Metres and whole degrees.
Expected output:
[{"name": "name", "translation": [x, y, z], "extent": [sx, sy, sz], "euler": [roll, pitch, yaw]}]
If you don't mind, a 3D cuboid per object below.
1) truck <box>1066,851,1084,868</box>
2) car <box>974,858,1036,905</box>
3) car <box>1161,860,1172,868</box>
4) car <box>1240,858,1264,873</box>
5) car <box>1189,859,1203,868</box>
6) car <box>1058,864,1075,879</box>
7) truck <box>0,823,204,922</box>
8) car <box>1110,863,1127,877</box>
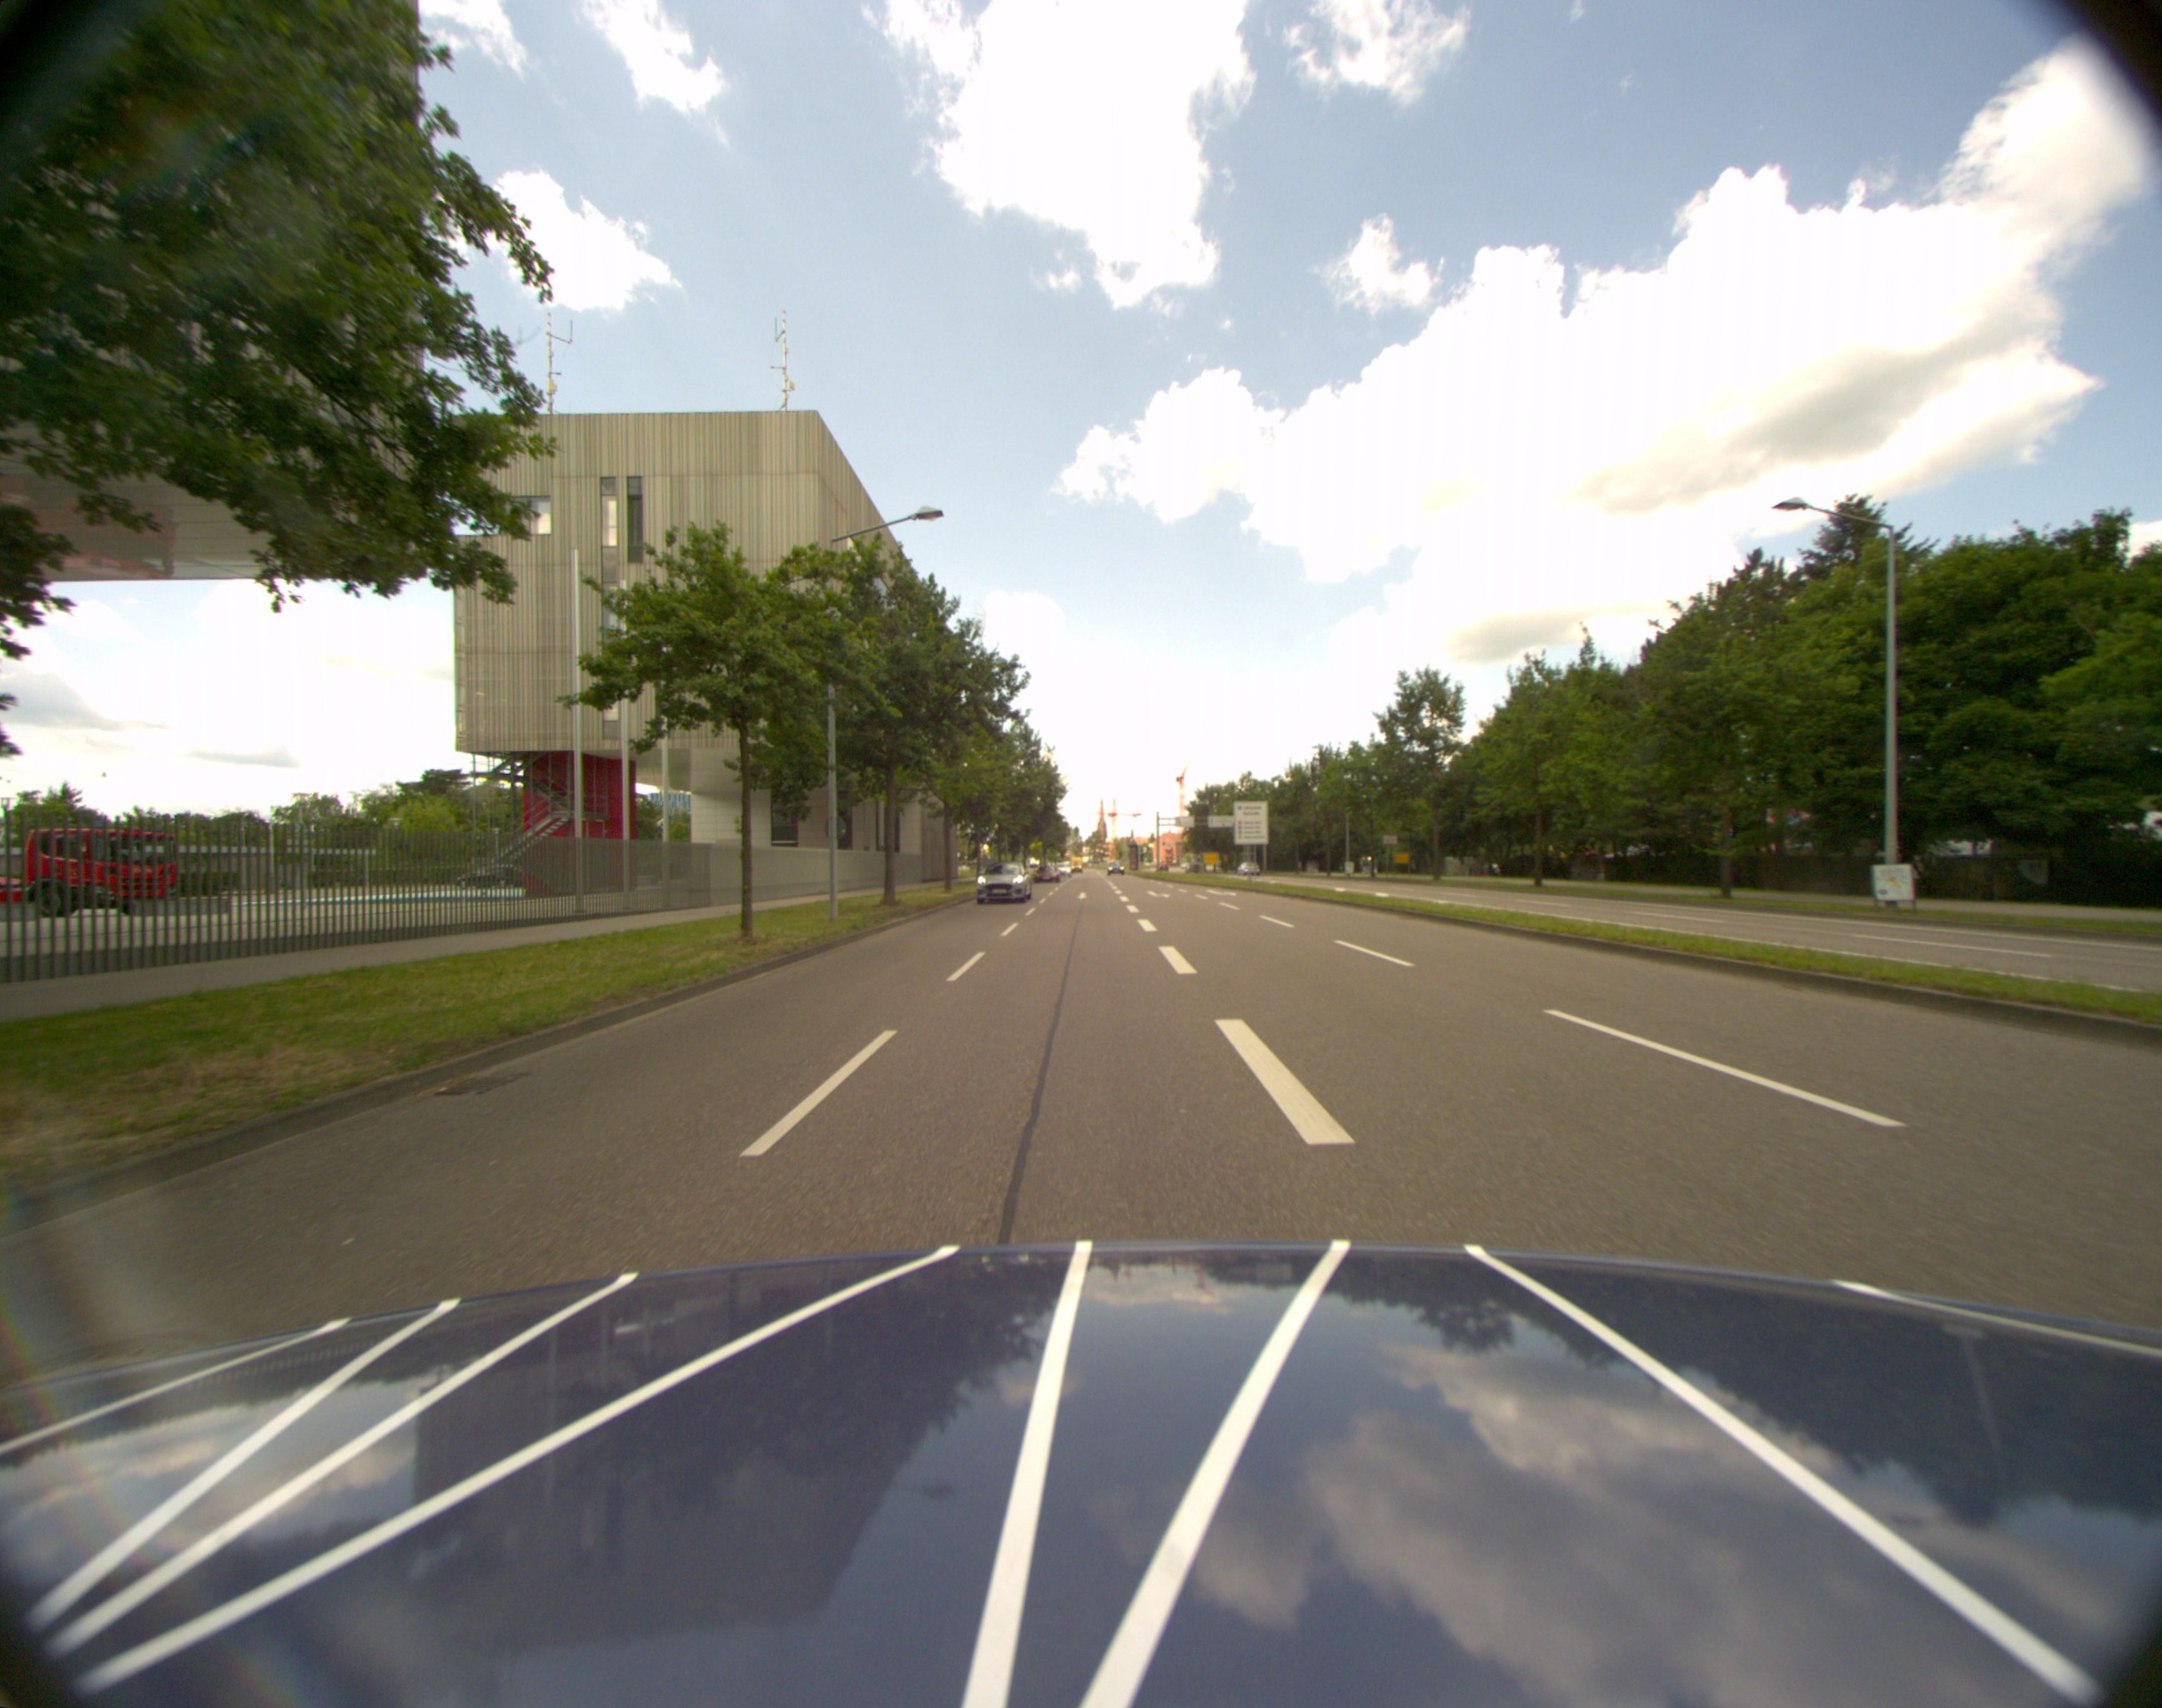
[{"name": "truck", "translation": [-1.000, 1.001, 137.996], "extent": [3.066, 3.095, 7.935], "euler": [0, 0, 1]}, {"name": "car", "translation": [-2.780, 0.986, 28.684], "extent": [1.823, 1.565, 3.954], "euler": [-2, 0, 1]}, {"name": "car", "translation": [16.652, 1.927, 148.492], "extent": [1.713, 1.487, 4.072], "euler": [0, 0, 2]}, {"name": "car", "translation": [17.915, 1.204, 79.721], "extent": [1.713, 1.487, 3.698], "euler": [0, 0, 2]}, {"name": "car", "translation": [18.855, 1.567, 124.463], "extent": [1.713, 1.487, 4.072], "euler": [0, 0, 2]}, {"name": "car", "translation": [-1.564, 1.847, 82.045], "extent": [1.713, 1.487, 3.650], "euler": [0, 0, 1]}, {"name": "truck", "translation": [-34.642, 0.658, 25.146], "extent": [7.799, 2.985, 2.534], "euler": [-2, 1, -3]}, {"name": "car", "translation": [4.234, 1.810, 86.075], "extent": [1.782, 1.487, 3.598], "euler": [0, 0, 1]}]
